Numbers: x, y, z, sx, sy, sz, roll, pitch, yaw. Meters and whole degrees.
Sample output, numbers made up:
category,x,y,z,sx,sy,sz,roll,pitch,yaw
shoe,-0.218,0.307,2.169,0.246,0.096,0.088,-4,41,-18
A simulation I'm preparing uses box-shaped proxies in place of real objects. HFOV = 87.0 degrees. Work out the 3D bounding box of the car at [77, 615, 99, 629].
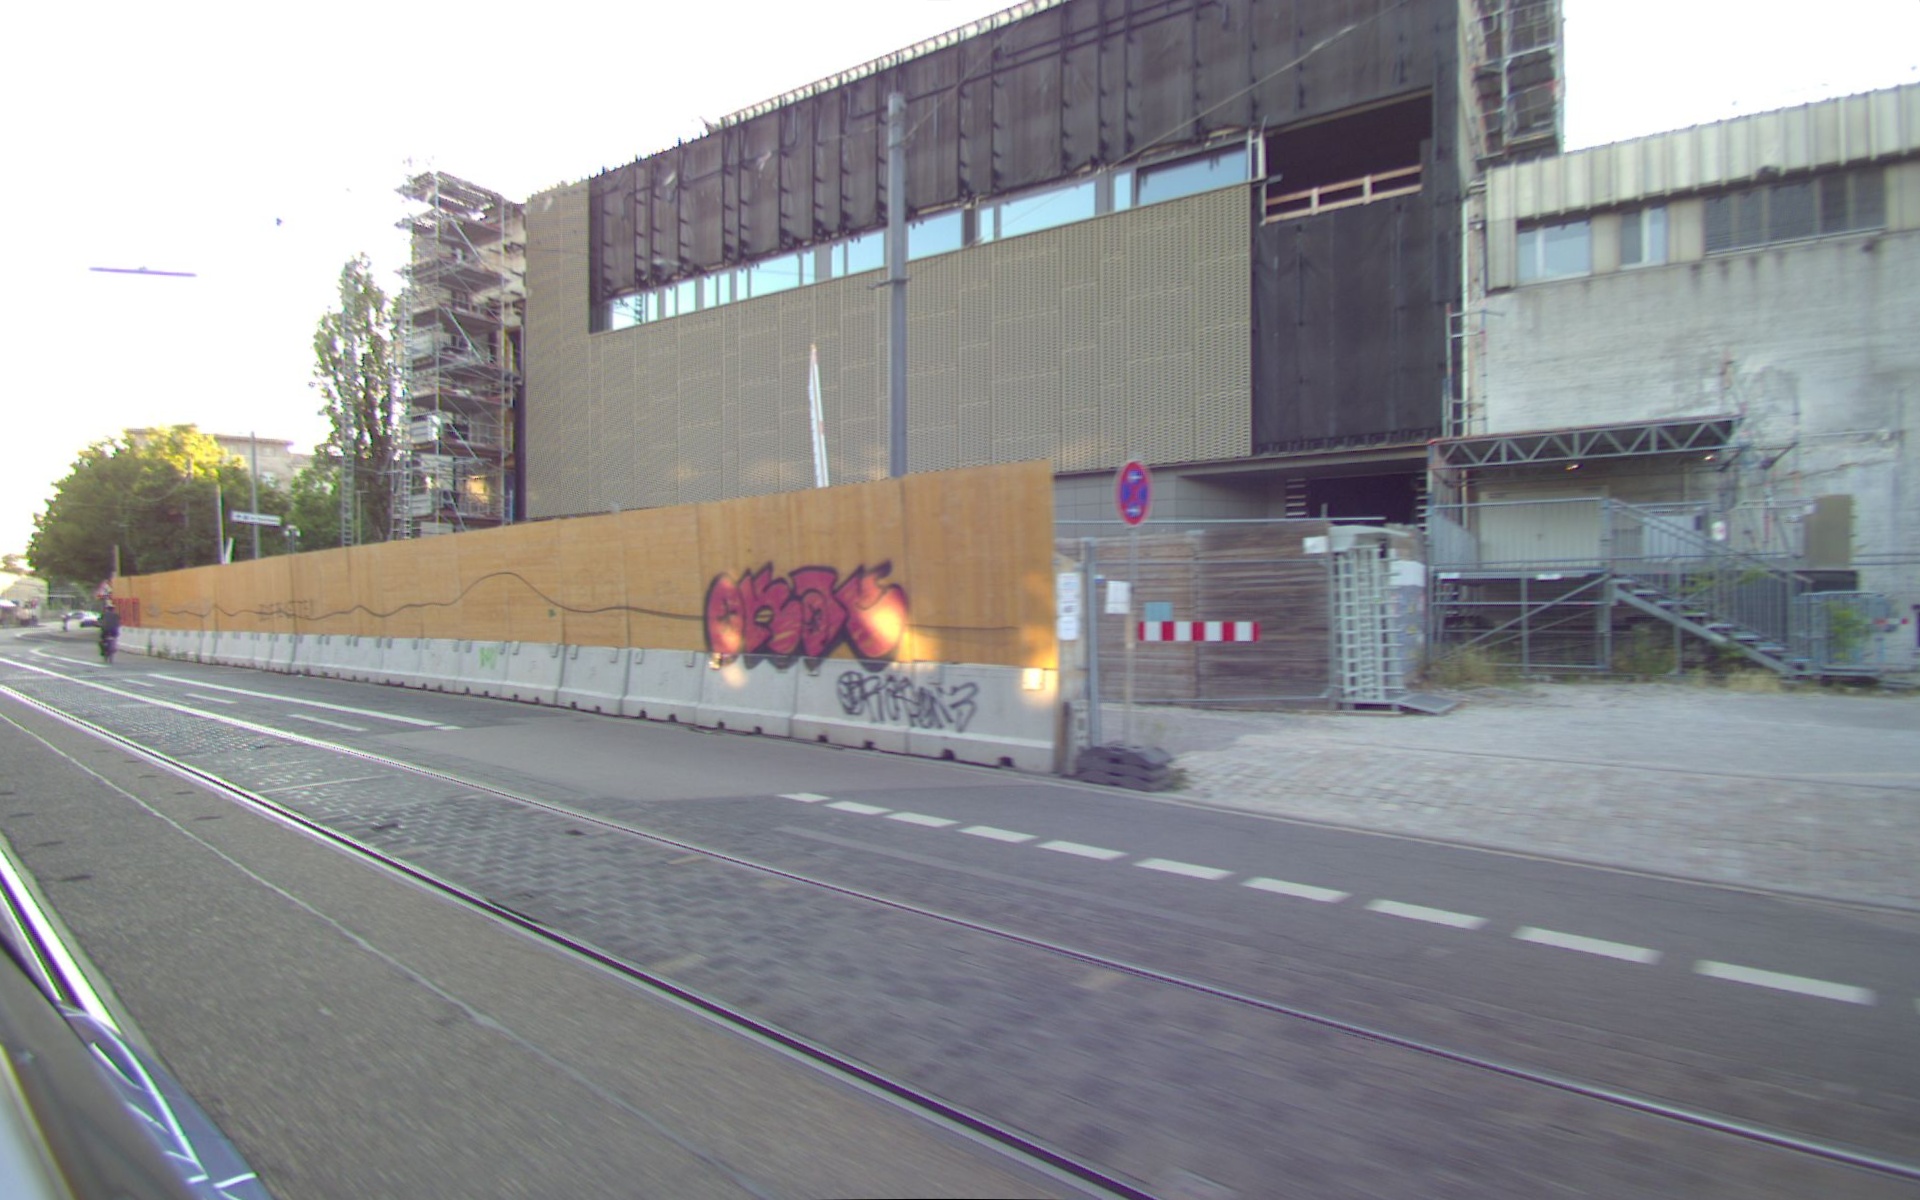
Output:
category,x,y,z,sx,sy,sz,roll,pitch,yaw
car,-114.208,2.889,132.587,1.968,1.696,4.008,-1,0,-38

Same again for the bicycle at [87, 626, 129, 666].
category,x,y,z,sx,sy,sz,roll,pitch,yaw
bicycle,-27.154,1.450,32.256,1.935,1.237,0.760,-1,-2,42

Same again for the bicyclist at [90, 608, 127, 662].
category,x,y,z,sx,sy,sz,roll,pitch,yaw
bicyclist,-27.146,1.104,32.260,1.018,1.678,0.760,-1,-2,41
